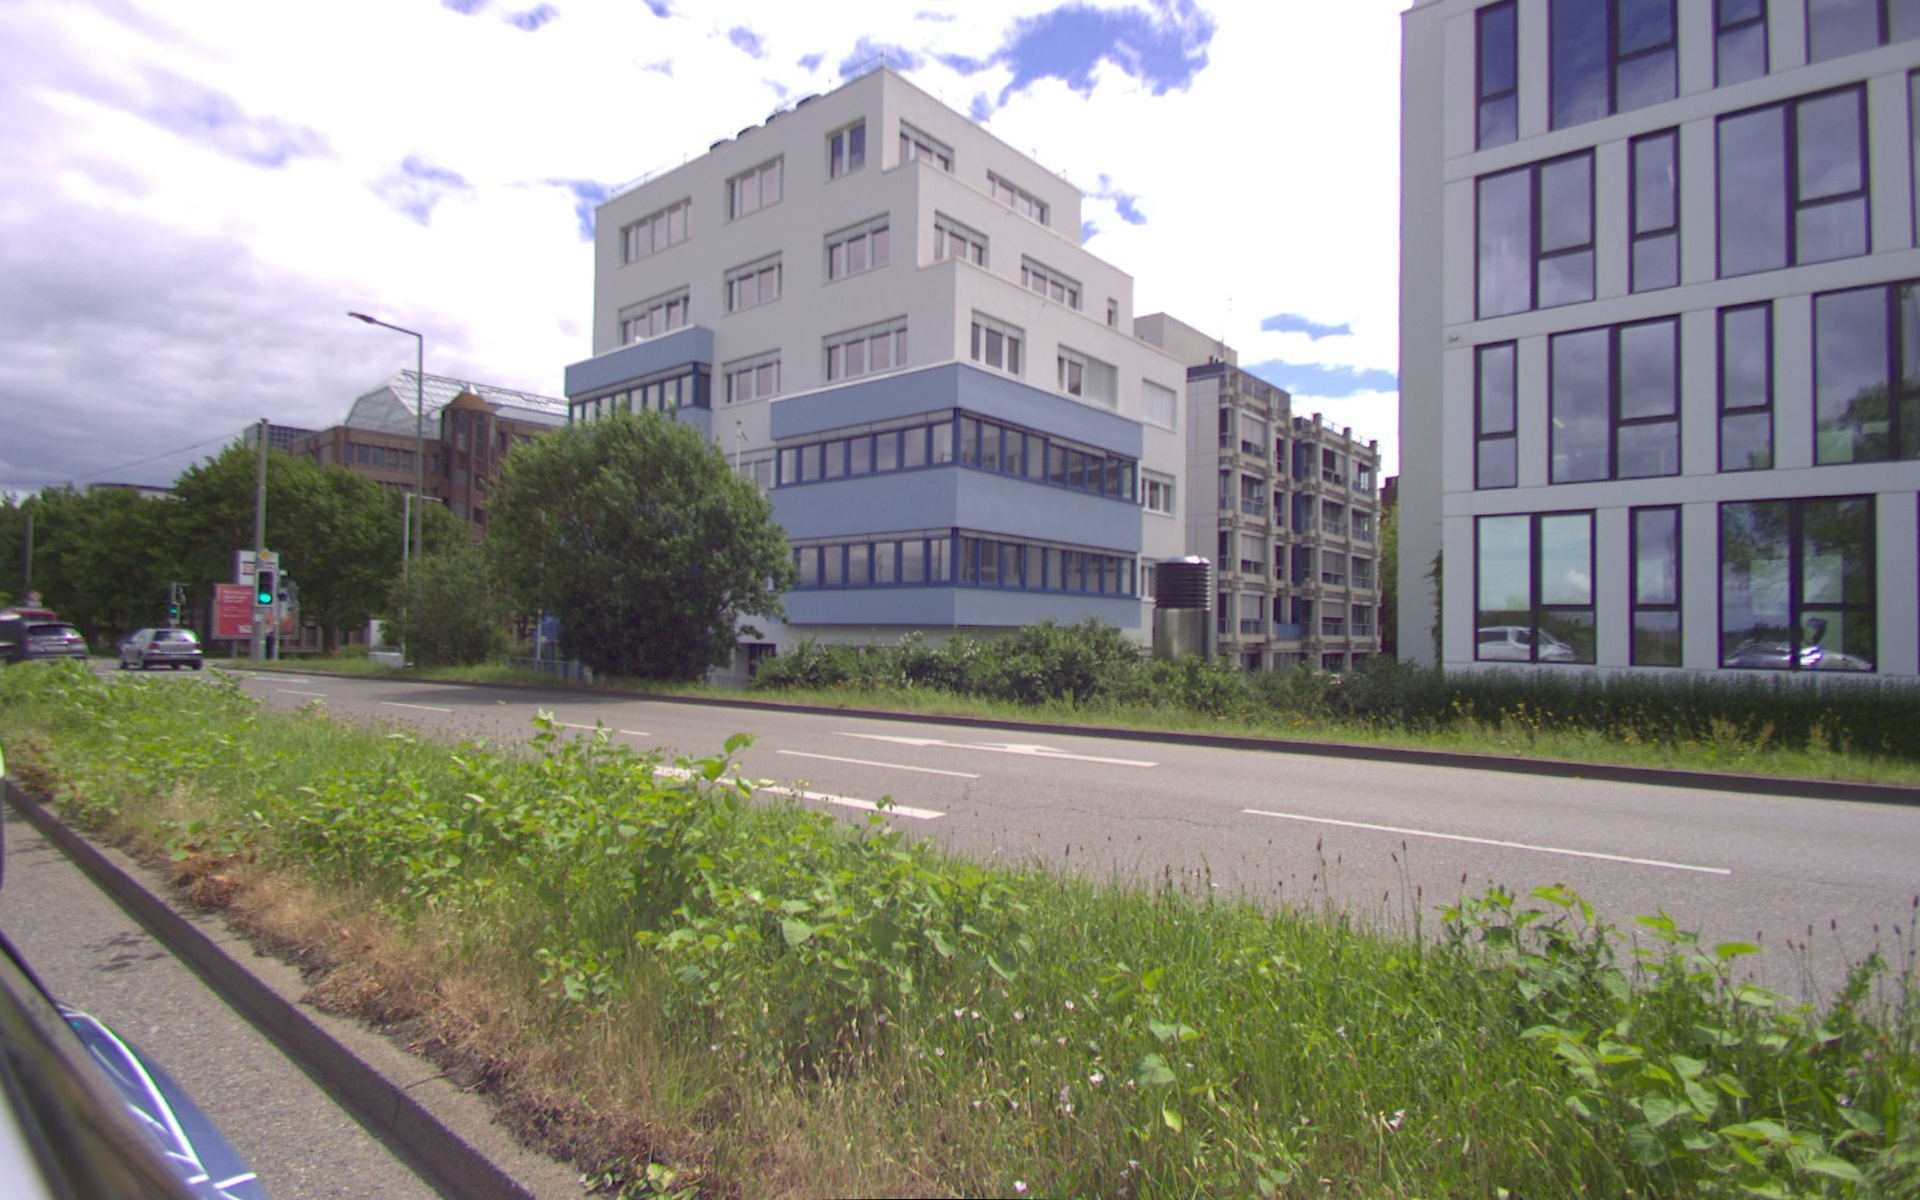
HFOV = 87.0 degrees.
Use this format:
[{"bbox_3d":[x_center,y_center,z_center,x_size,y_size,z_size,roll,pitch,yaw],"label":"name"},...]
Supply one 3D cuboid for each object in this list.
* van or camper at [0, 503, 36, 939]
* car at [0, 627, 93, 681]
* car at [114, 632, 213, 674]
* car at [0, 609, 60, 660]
[{"bbox_3d":[-7.289,0.586,5.805,5.791,2.029,1.974,-1,-3,38],"label":"van or camper"},{"bbox_3d":[-28.141,1.594,30.814,3.995,1.528,1.916,-2,-2,39],"label":"car"},{"bbox_3d":[-27.770,1.823,35.253,3.998,1.364,1.973,-2,-2,41],"label":"car"},{"bbox_3d":[-47.103,1.711,50.956,5.237,2.430,1.973,-1,-2,41],"label":"car"}]
